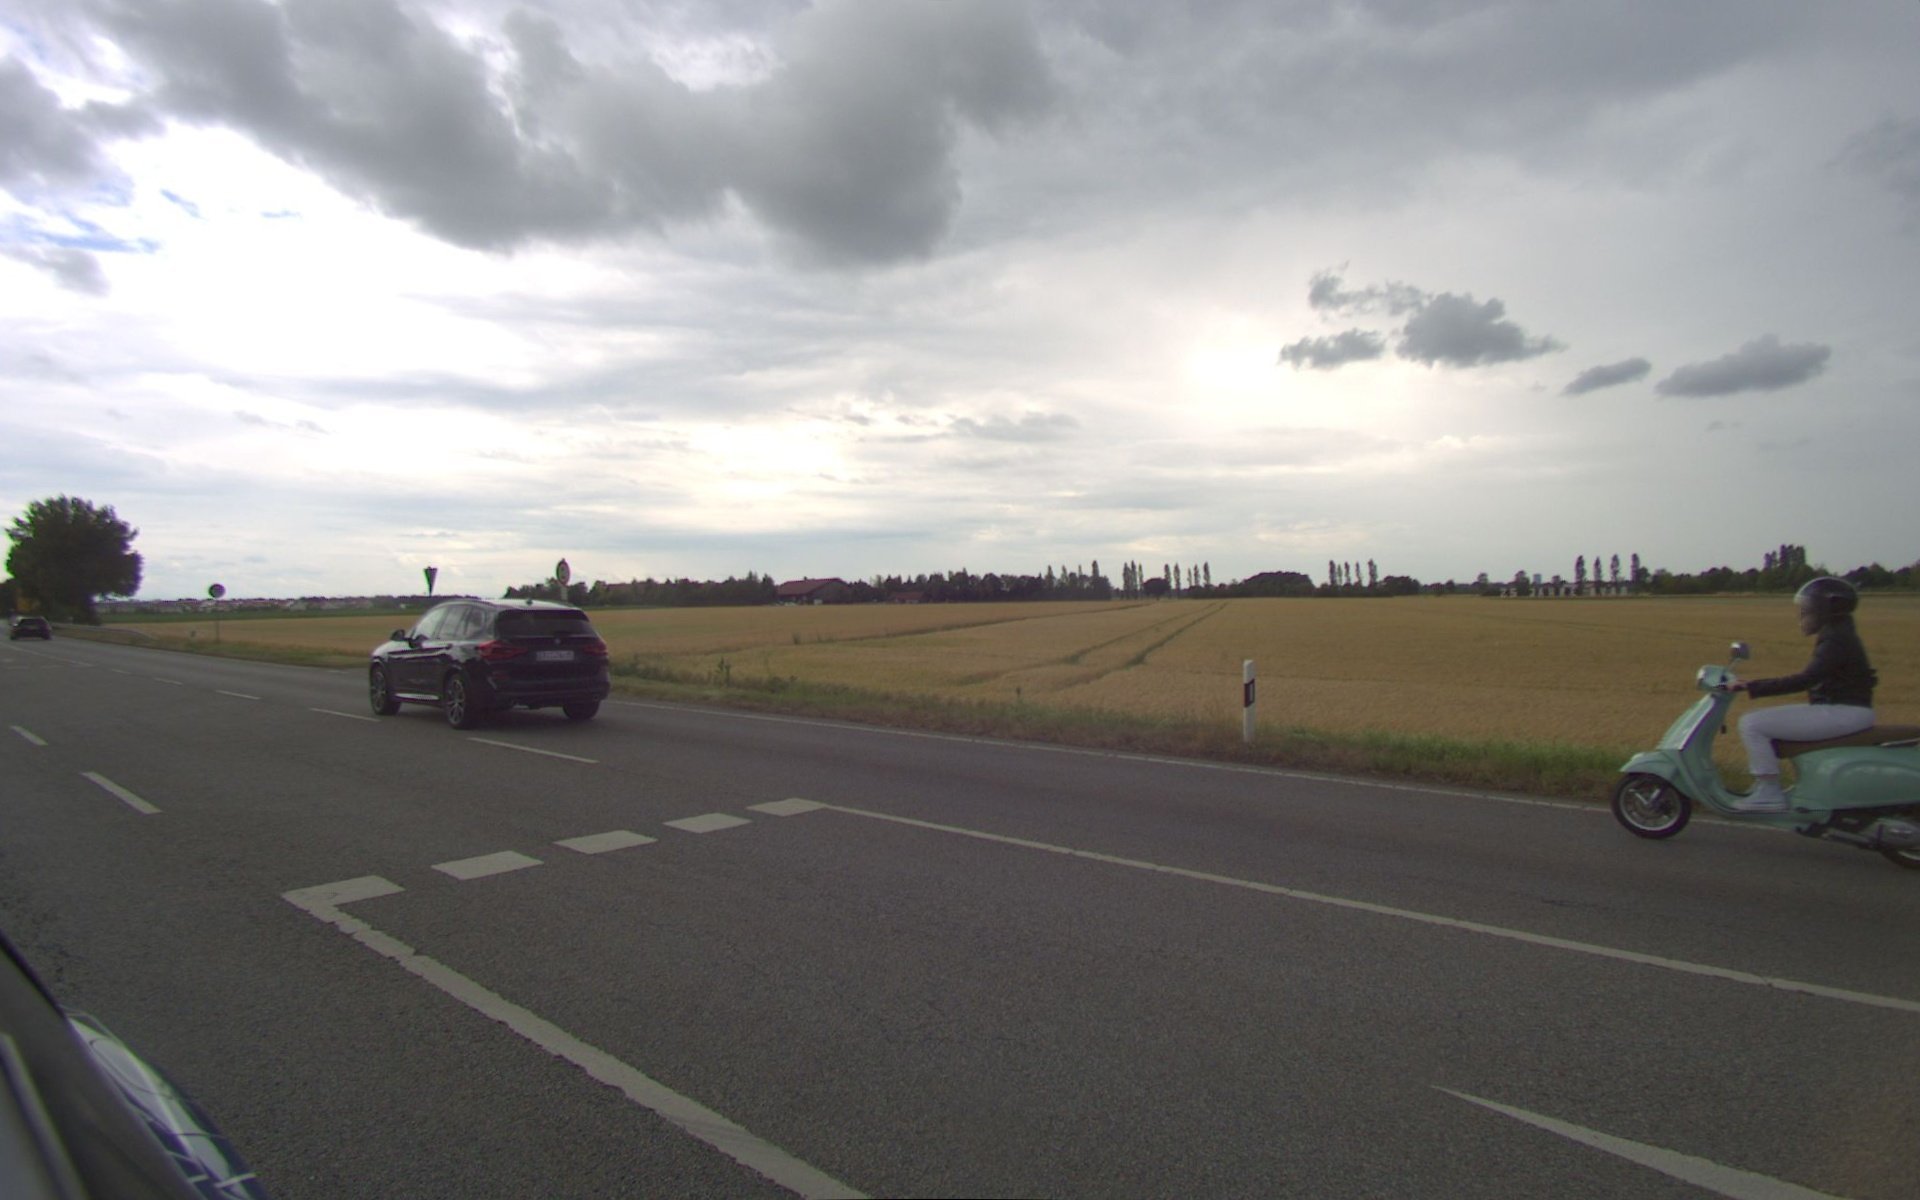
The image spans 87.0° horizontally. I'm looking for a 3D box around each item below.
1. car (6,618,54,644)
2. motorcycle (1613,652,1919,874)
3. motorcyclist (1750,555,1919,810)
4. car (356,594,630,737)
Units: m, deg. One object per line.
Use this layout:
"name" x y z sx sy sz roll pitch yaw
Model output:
"car" -56.317 1.872 61.264 1.970 1.521 4.003 2 -2 -44
"motorcycle" 5.170 0.922 6.057 2.024 1.157 0.718 -1 -1 42
"motorcyclist" 5.238 0.459 6.007 0.809 1.394 0.633 -1 -1 42
"car" -6.701 0.818 14.290 4.445 1.707 1.926 -1 -1 42
